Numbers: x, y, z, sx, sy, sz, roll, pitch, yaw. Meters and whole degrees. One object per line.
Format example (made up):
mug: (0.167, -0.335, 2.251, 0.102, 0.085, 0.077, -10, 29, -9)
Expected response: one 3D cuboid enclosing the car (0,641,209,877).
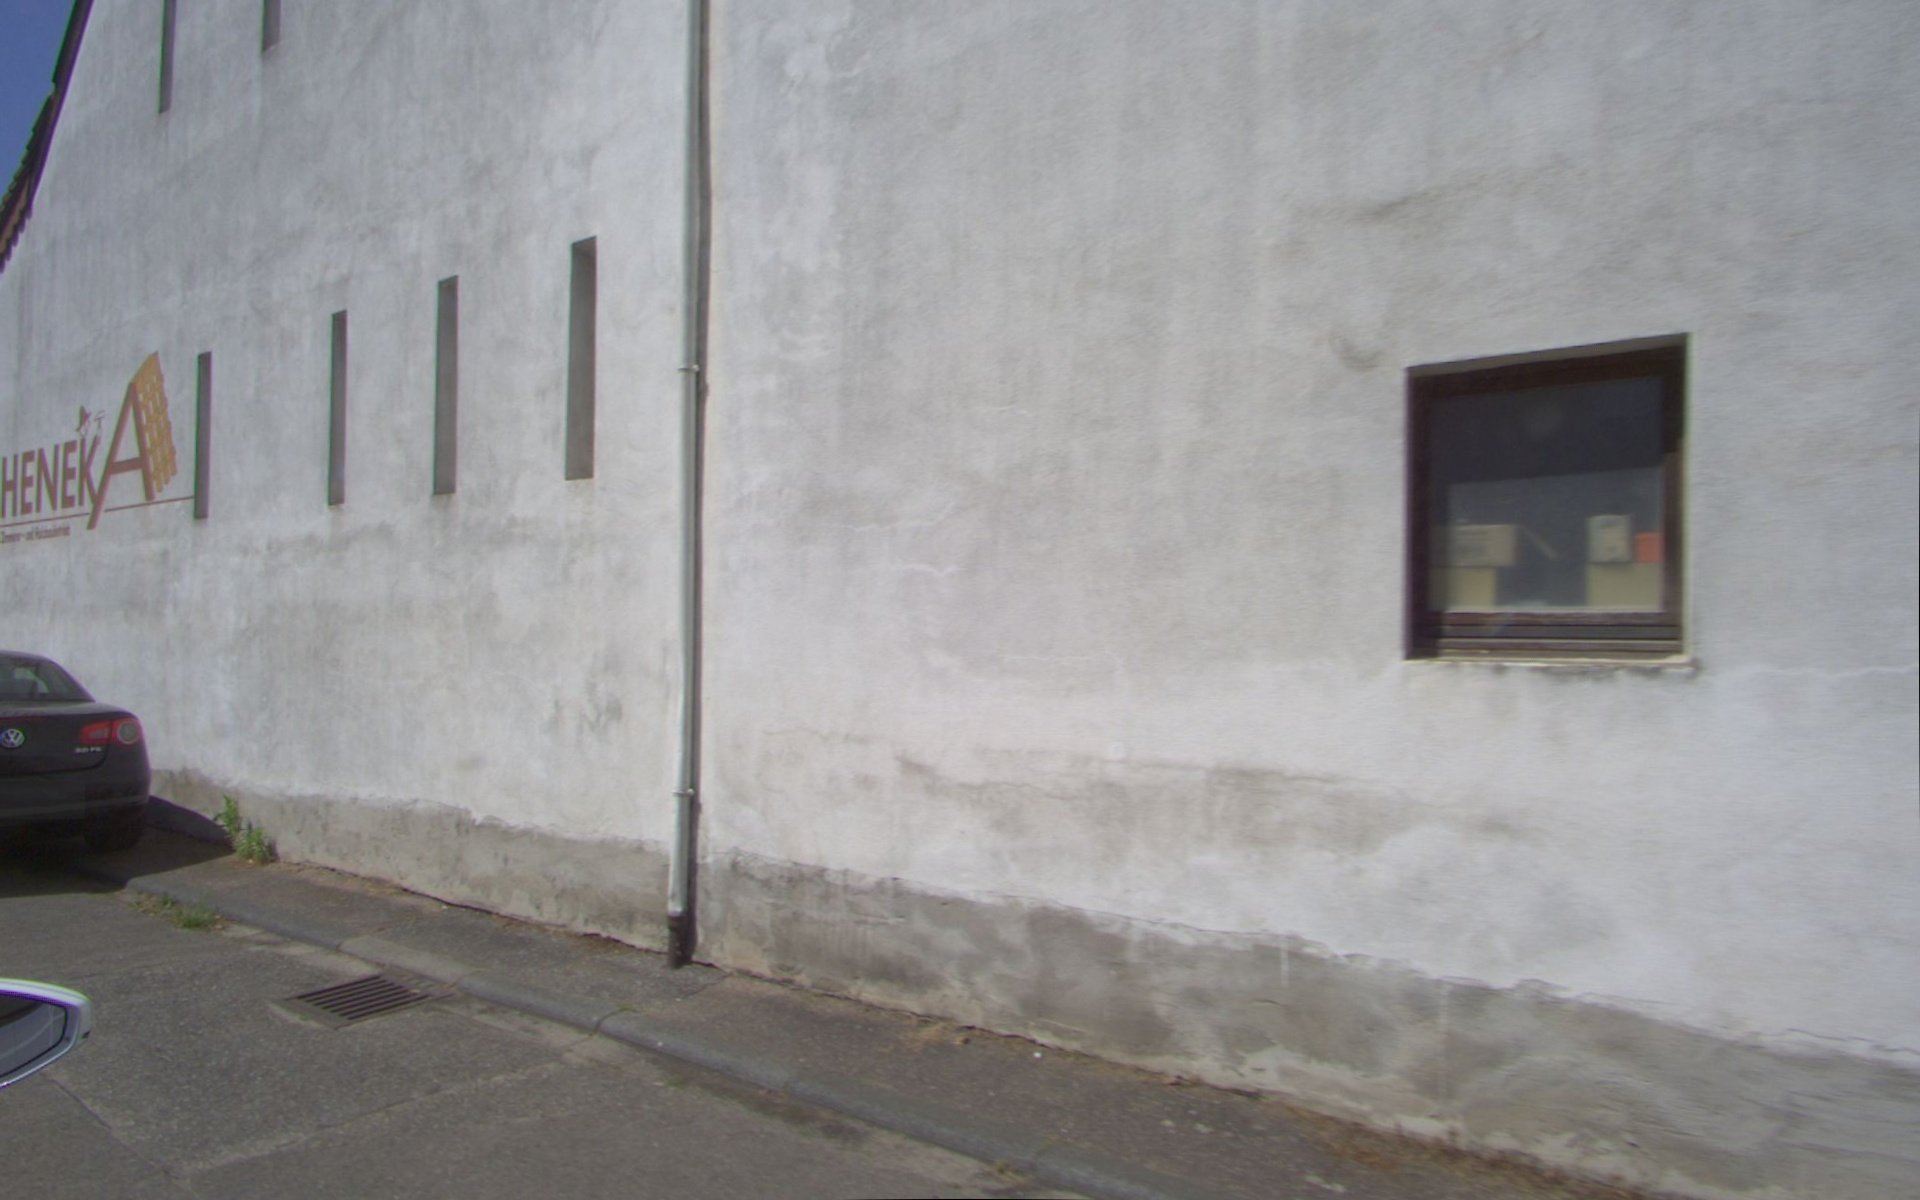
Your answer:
car: (-7.467, 0.985, 7.188, 4.351, 1.382, 1.893, -1, -3, 33)
